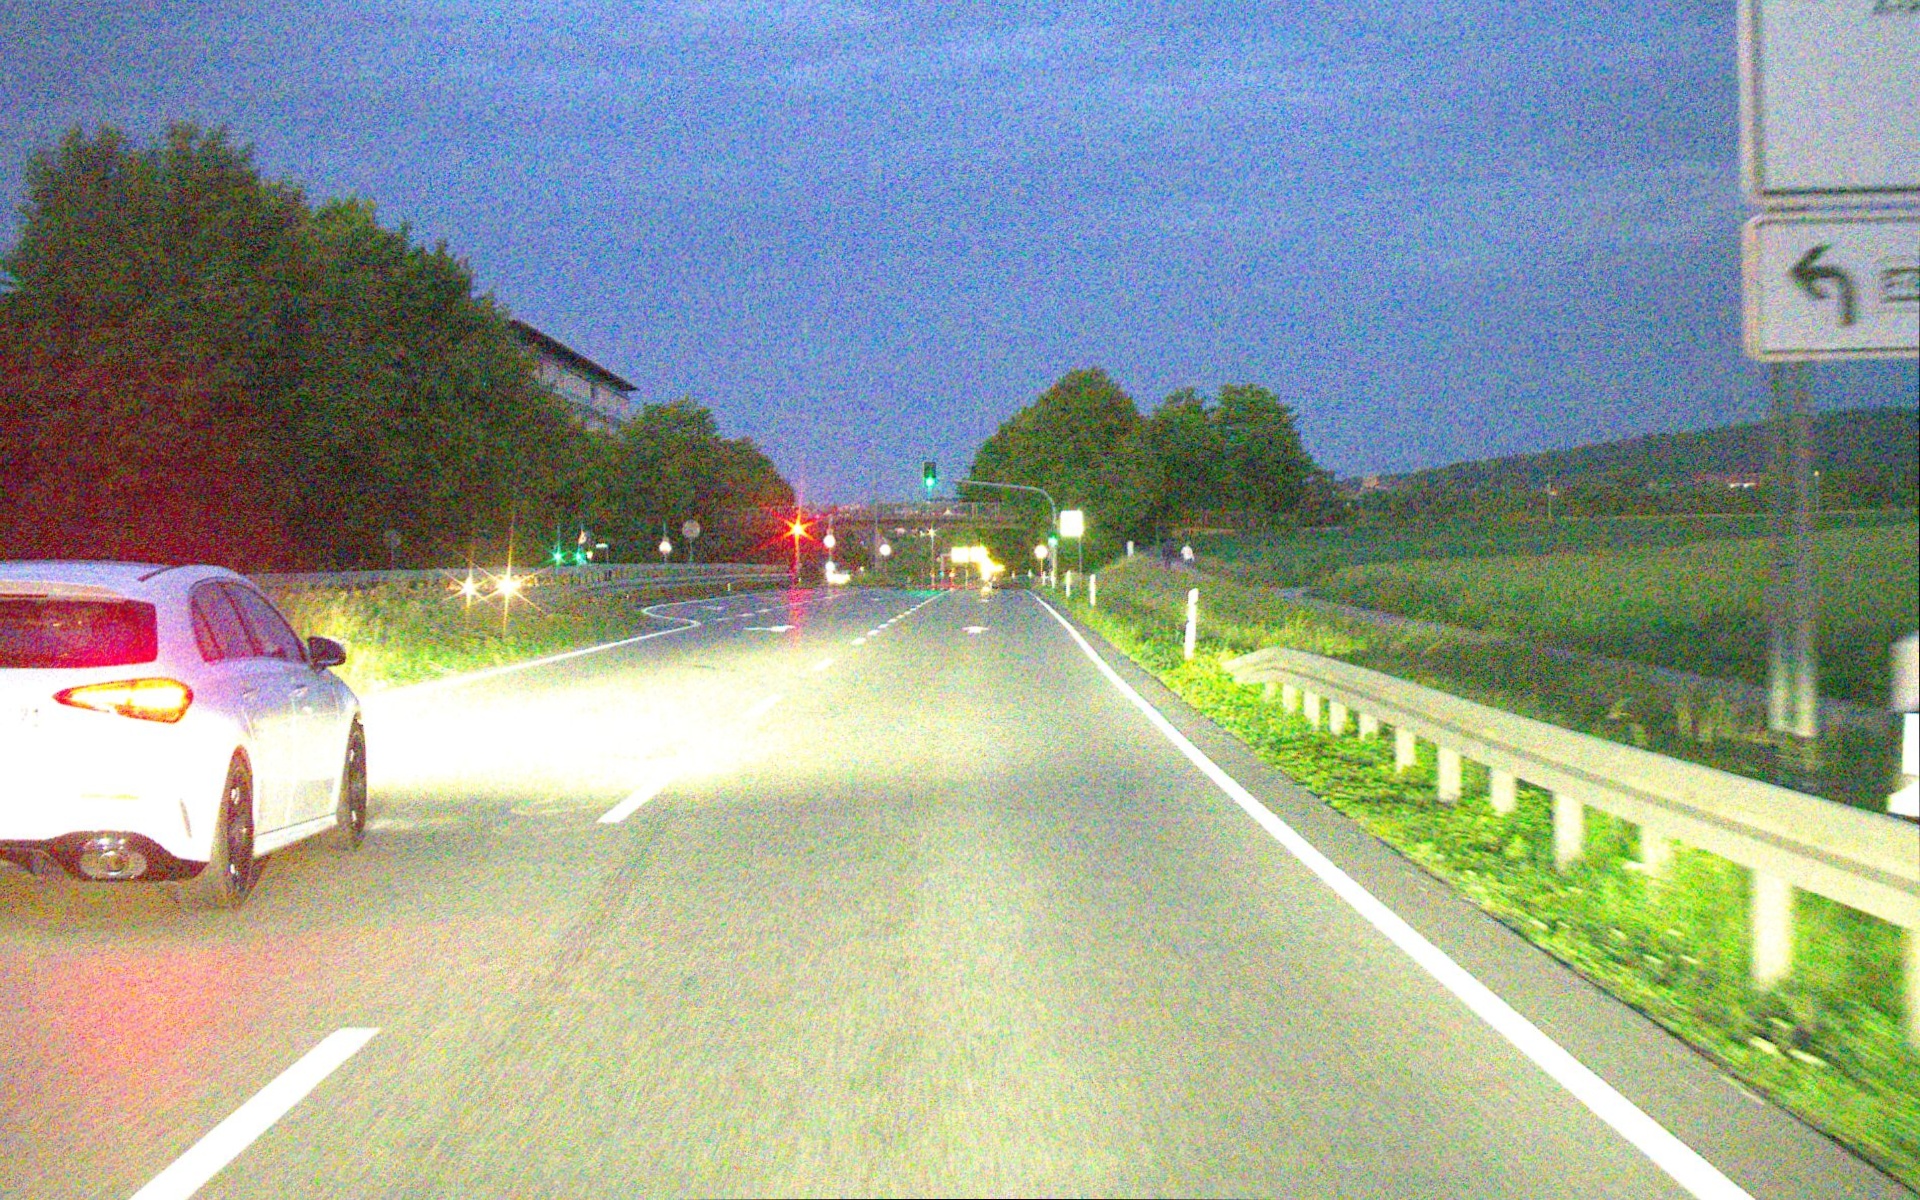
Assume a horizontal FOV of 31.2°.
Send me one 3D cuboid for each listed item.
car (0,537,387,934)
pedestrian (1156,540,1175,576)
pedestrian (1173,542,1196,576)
[{"bbox_3d":[-3.698,0.473,15.248,1.642,1.485,4.580,1,1,-1],"label":"car"},{"bbox_3d":[10.540,-2.156,176.312,0.922,1.787,1.106,1,1,1],"label":"pedestrian"},{"bbox_3d":[11.493,-2.098,176.251,1.090,1.717,1.260,1,0,0],"label":"pedestrian"}]
